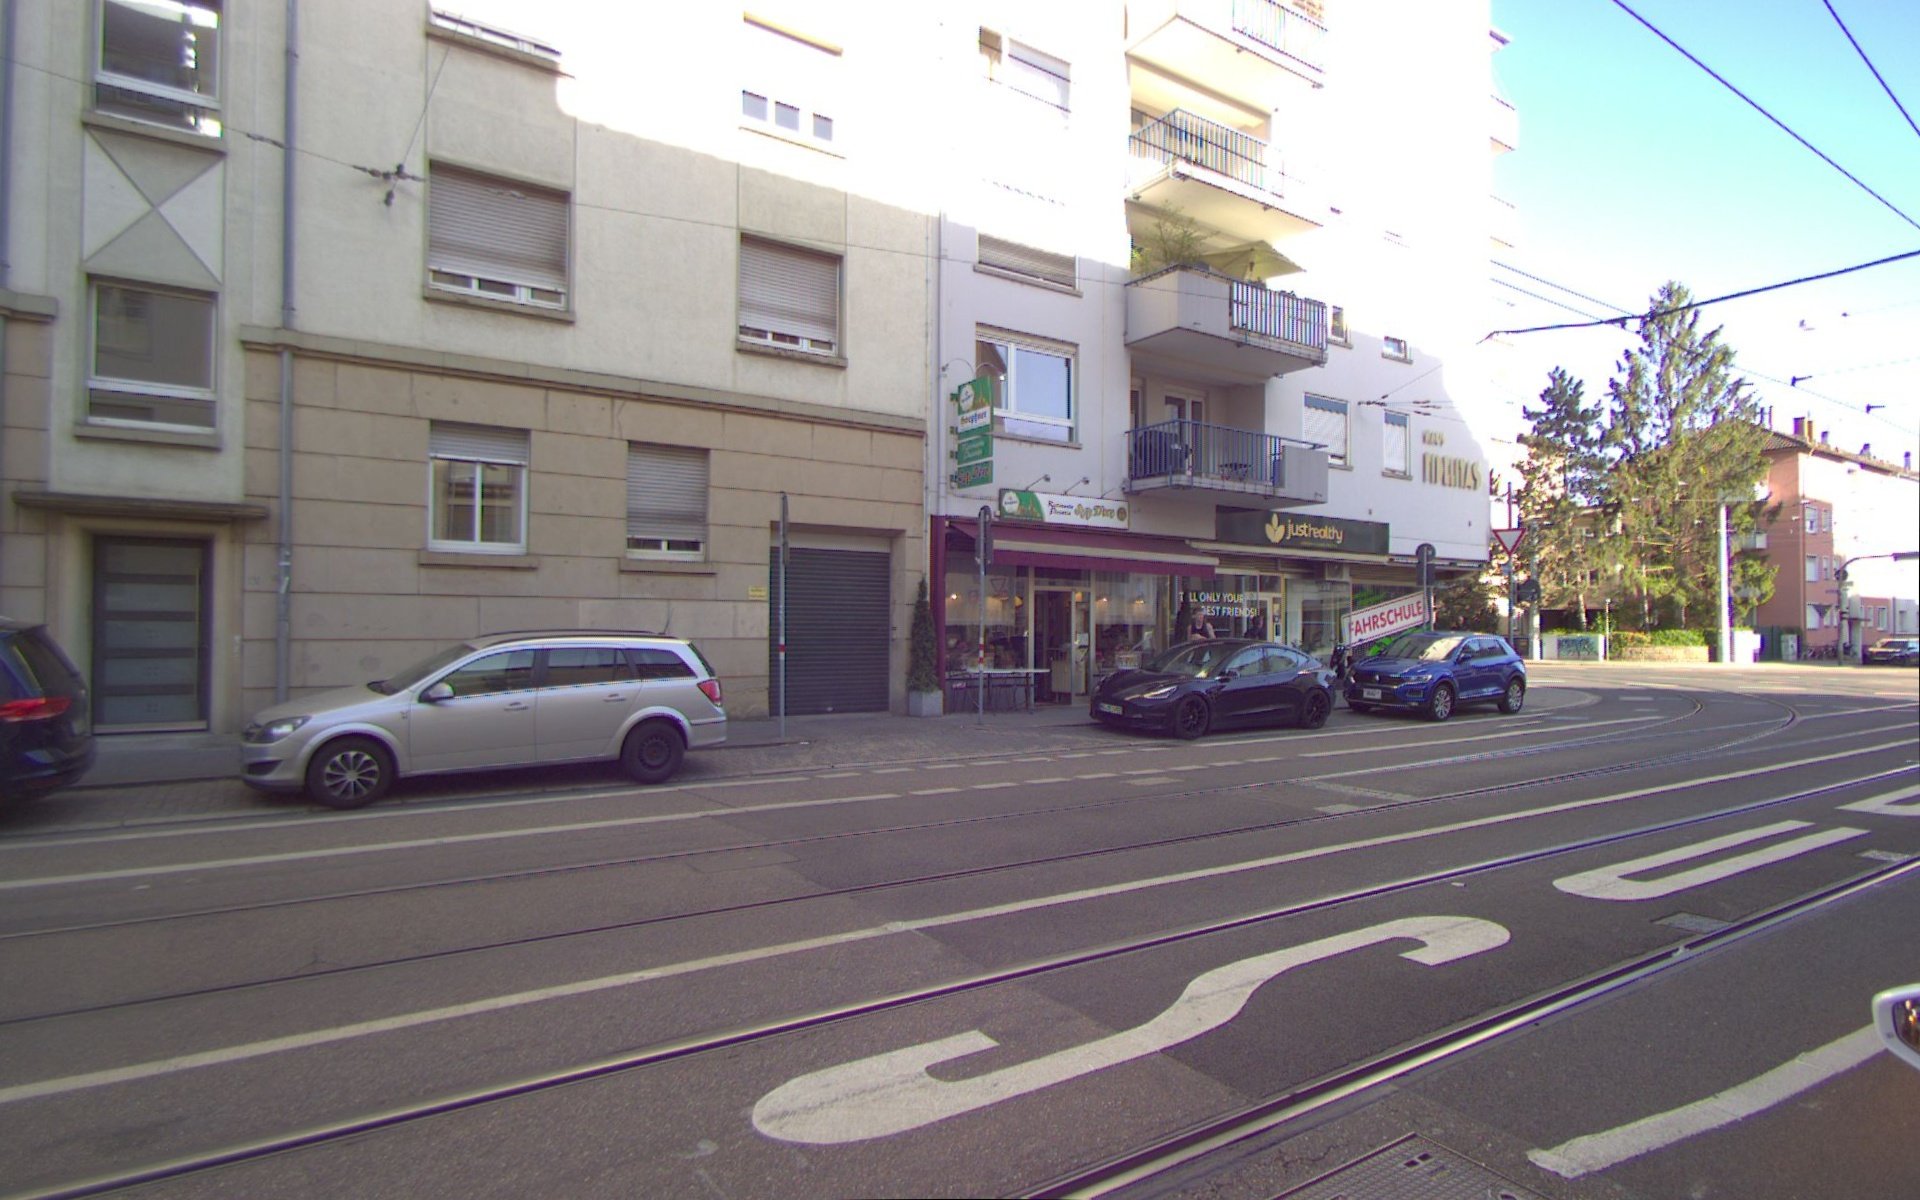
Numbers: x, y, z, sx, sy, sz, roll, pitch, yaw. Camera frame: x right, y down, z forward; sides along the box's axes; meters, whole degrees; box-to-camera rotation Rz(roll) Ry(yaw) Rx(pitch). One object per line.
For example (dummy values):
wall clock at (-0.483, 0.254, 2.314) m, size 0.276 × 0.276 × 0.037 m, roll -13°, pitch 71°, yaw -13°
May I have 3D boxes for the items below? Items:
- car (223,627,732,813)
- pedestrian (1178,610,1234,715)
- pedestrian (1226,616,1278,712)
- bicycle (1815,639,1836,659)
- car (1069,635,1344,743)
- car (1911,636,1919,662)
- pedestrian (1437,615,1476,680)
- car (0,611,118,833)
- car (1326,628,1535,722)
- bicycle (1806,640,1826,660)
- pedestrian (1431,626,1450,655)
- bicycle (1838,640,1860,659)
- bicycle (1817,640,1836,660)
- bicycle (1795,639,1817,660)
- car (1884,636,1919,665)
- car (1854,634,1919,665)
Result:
car at (-4.713, 1.046, 10.204) m, size 4.343 × 1.497 × 1.785 m, roll 1°, pitch -1°, yaw -34°
pedestrian at (4.520, 1.129, 18.474) m, size 0.746 × 1.882 × 0.665 m, roll 1°, pitch -2°, yaw -33°
pedestrian at (5.440, 1.178, 18.700) m, size 0.722 × 1.731 × 0.600 m, roll 1°, pitch -2°, yaw -32°
bicycle at (50.731, 2.864, 58.876) m, size 1.892 × 1.097 × 0.533 m, roll 1°, pitch -2°, yaw -37°
car at (4.005, 1.313, 16.033) m, size 4.442 × 1.422 × 1.714 m, roll 1°, pitch 1°, yaw -34°
car at (58.118, 2.902, 59.447) m, size 3.961 × 1.539 × 1.938 m, roll 1°, pitch -2°, yaw -36°
pedestrian at (14.234, 1.359, 28.838) m, size 0.707 × 1.859 × 0.771 m, roll 0°, pitch -1°, yaw -3°
car at (-9.001, 0.876, 7.181) m, size 4.343 × 1.620 × 1.785 m, roll 1°, pitch -1°, yaw -34°
car at (8.984, 1.344, 19.076) m, size 4.072 × 1.525 × 1.714 m, roll 1°, pitch 1°, yaw -34°
bicycle at (47.169, 2.738, 55.335) m, size 1.895 × 1.097 × 0.532 m, roll 2°, pitch -2°, yaw -41°
pedestrian at (29.426, 2.477, 61.492) m, size 0.672 × 1.725 × 0.805 m, roll 1°, pitch -2°, yaw -30°
bicycle at (53.147, 2.942, 60.021) m, size 1.892 × 1.097 × 0.605 m, roll 1°, pitch -2°, yaw -37°
bicycle at (47.596, 2.750, 55.160) m, size 1.895 × 1.097 × 0.532 m, roll 2°, pitch -2°, yaw -41°
bicycle at (46.873, 2.728, 55.627) m, size 1.895 × 1.097 × 0.634 m, roll 2°, pitch -2°, yaw -41°
car at (54.264, 2.844, 57.008) m, size 4.006 × 1.539 × 1.938 m, roll 1°, pitch -2°, yaw -36°
car at (49.716, 2.620, 53.778) m, size 3.961 × 1.539 × 1.938 m, roll 1°, pitch -2°, yaw -36°
